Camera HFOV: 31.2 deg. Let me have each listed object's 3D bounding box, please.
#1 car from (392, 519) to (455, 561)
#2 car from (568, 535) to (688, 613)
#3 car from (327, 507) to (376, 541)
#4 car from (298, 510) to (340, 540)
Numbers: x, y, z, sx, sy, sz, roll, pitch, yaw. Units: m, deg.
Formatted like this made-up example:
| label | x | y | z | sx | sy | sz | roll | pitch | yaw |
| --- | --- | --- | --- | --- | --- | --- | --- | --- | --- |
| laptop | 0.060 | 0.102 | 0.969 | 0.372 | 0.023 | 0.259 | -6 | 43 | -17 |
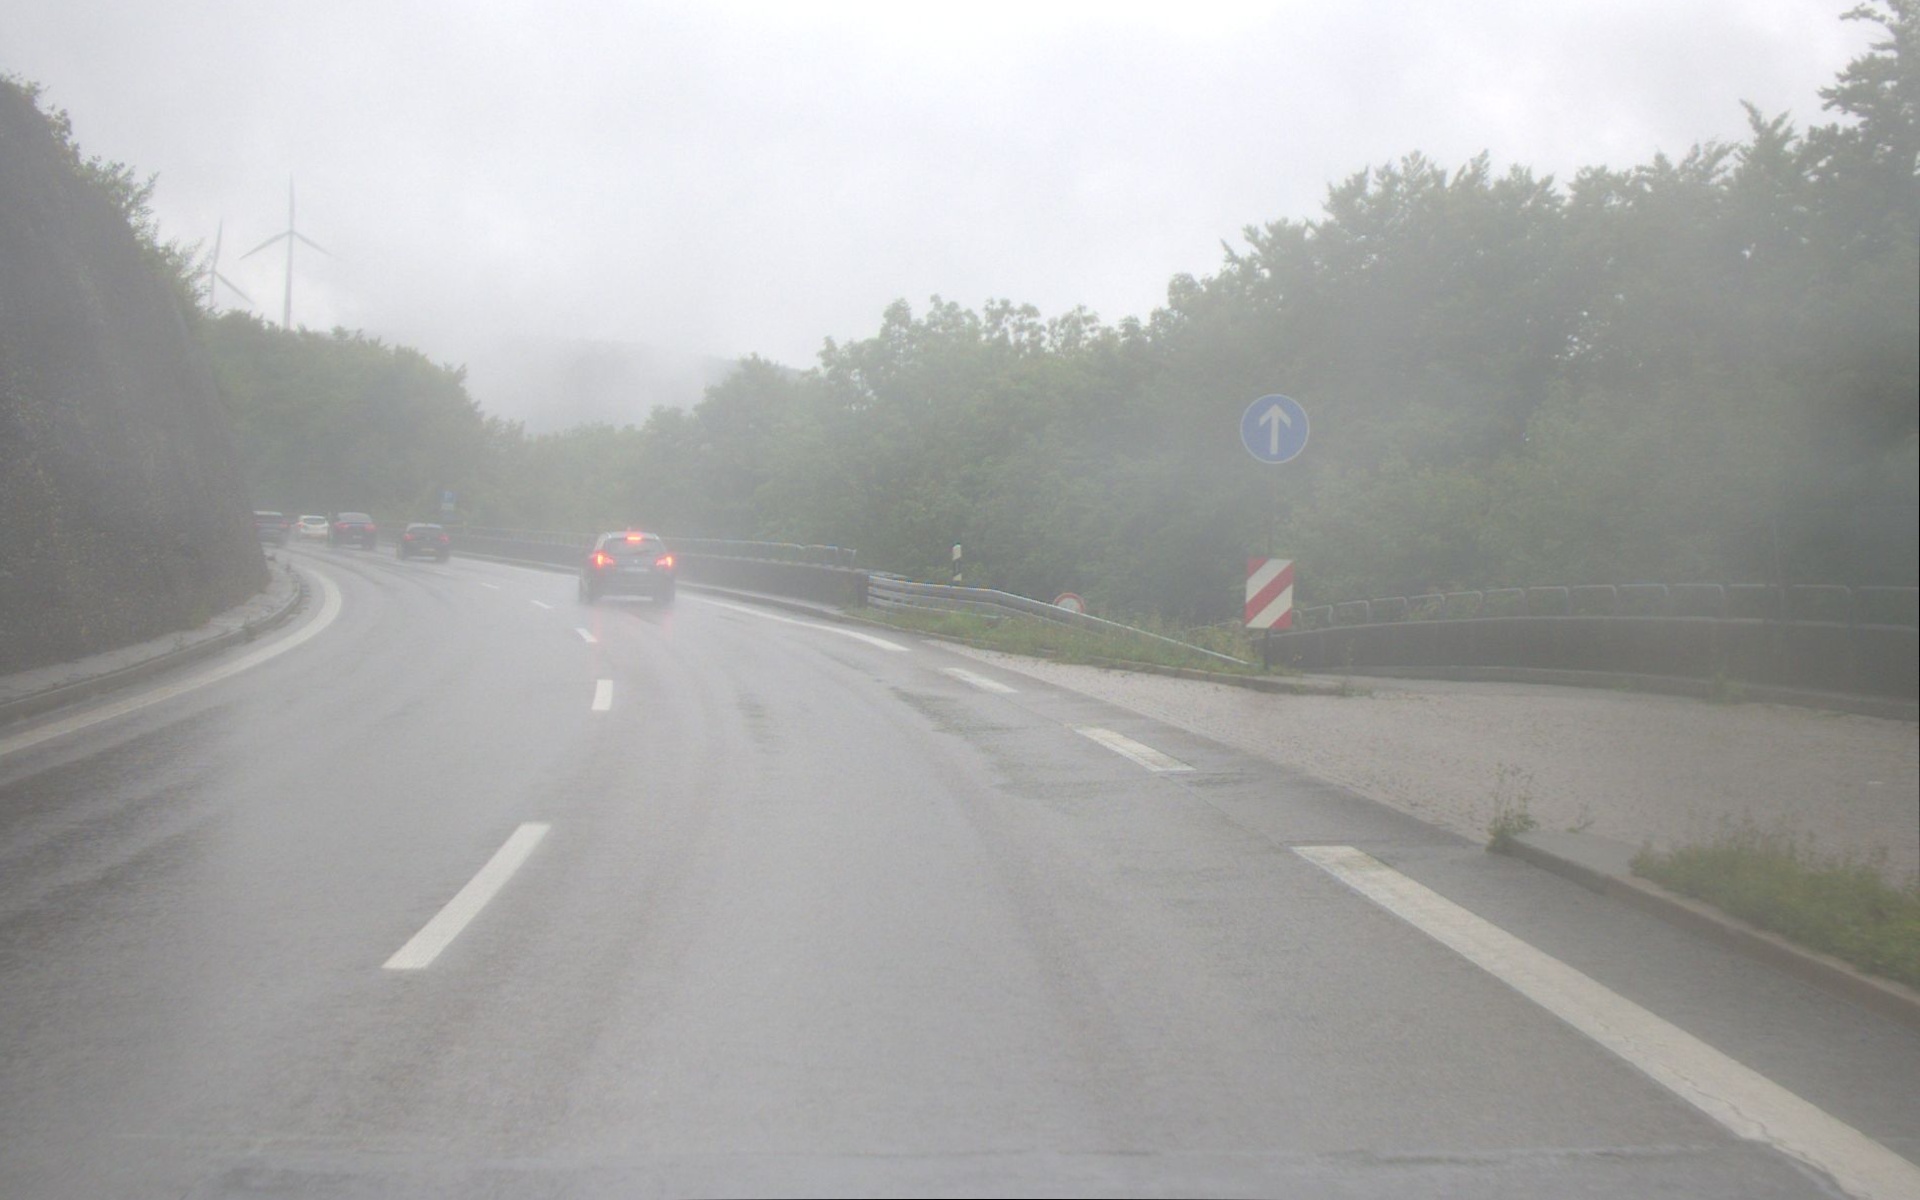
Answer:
| label | x | y | z | sx | sy | sz | roll | pitch | yaw |
| --- | --- | --- | --- | --- | --- | --- | --- | --- | --- |
| car | -20.957 | -2.353 | 134.233 | 1.903 | 1.494 | 4.001 | 2 | 1 | -16 |
| car | -6.944 | -0.566 | 71.653 | 1.903 | 1.494 | 4.001 | 2 | 1 | -14 |
| car | -28.727 | -3.591 | 162.281 | 1.903 | 1.494 | 4.001 | 2 | 1 | -15 |
| car | -34.267 | -4.005 | 183.698 | 1.903 | 1.494 | 4.001 | 2 | 1 | -14 |
